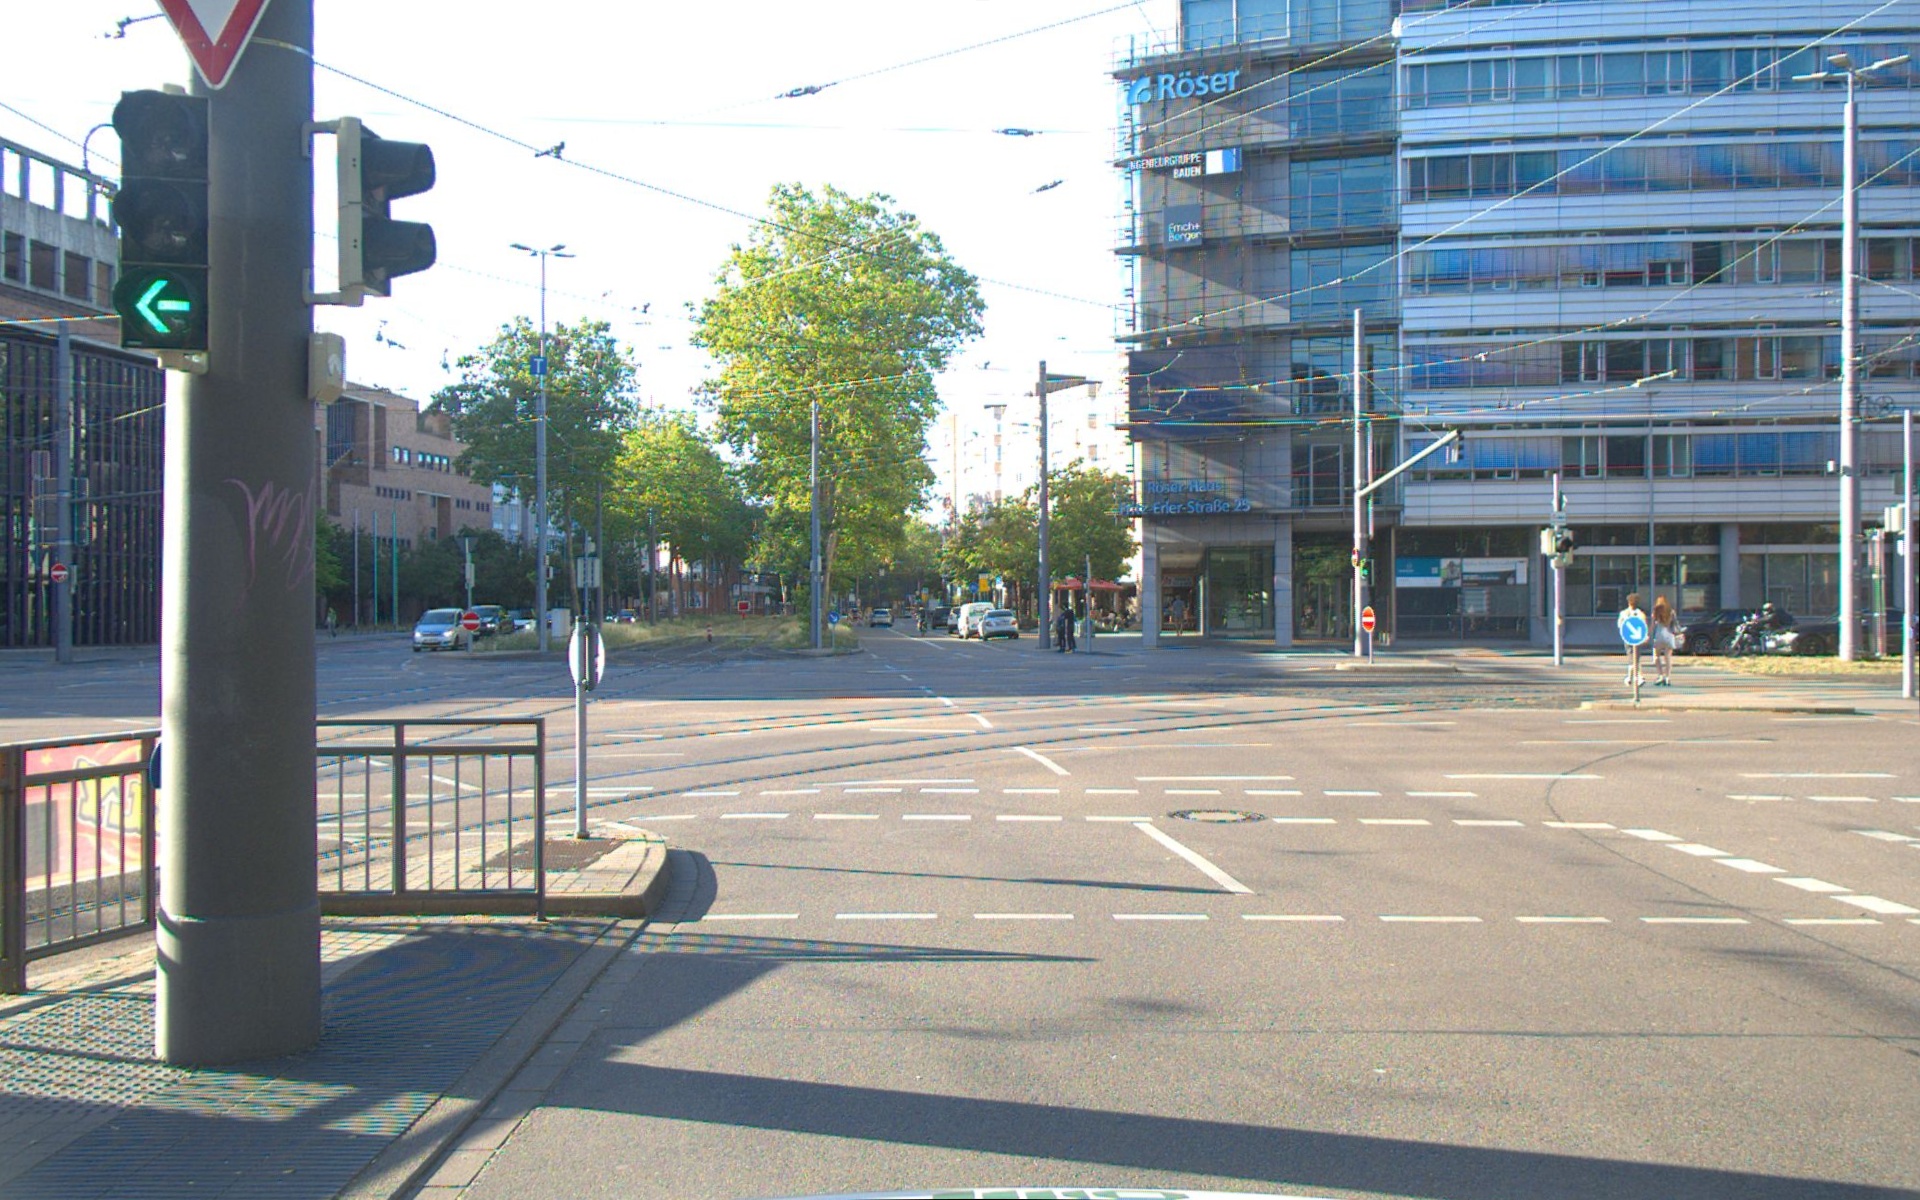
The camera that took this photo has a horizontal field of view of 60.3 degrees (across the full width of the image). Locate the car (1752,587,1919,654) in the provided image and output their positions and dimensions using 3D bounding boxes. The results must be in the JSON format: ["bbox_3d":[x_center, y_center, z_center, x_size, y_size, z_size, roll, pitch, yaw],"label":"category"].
[{"bbox_3d":[24.171,0.546,45.177,4.165,1.753,1.885,-1,0,2],"label":"car"}]

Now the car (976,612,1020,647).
[{"bbox_3d":[1.851,1.454,81.043,1.988,1.624,3.999,1,-1,-1],"label":"car"}]

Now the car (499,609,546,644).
[{"bbox_3d":[-21.299,1.275,80.689,1.644,1.635,3.994,1,-1,-7],"label":"car"}]

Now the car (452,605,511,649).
[{"bbox_3d":[-20.915,1.162,72.418,1.787,1.821,3.994,-1,0,-7],"label":"car"}]

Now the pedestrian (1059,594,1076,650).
[{"bbox_3d":[3.994,0.805,61.331,0.574,2.049,0.620,1,-1,0],"label":"pedestrian"}]

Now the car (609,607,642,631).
[{"bbox_3d":[-25.804,1.477,127.716,1.807,1.814,3.999,-1,0,-1],"label":"car"}]

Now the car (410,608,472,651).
[{"bbox_3d":[-20.503,1.149,65.448,1.590,1.604,3.994,-1,0,-7],"label":"car"}]

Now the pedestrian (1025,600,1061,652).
[{"bbox_3d":[3.201,1.017,63.866,1.315,1.985,1.011,0,-1,-1],"label":"pedestrian"}]

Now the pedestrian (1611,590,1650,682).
[{"bbox_3d":[13.195,0.699,32.576,0.663,1.789,0.742,-1,-1,21],"label":"pedestrian"}]

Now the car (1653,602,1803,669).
[{"bbox_3d":[24.694,1.133,53.284,3.905,2.049,2.000,1,-1,-1],"label":"car"}]

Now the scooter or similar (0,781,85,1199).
[{"bbox_3d":[-2.505,0.949,3.292,1.177,1.100,0.648,-1,-1,3],"label":"scooter or similar"}]

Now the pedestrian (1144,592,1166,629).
[{"bbox_3d":[11.735,0.626,99.660,1.285,2.228,1.171,1,-1,6],"label":"pedestrian"}]

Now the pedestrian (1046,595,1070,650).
[{"bbox_3d":[3.707,0.866,62.521,0.832,2.049,0.707,1,-1,-3],"label":"pedestrian"}]

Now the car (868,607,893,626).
[{"bbox_3d":[-6.531,1.338,136.107,1.711,1.443,4.001,0,1,1],"label":"car"}]

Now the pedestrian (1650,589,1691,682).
[{"bbox_3d":[13.866,0.683,32.292,0.669,1.789,0.742,-1,-1,19],"label":"pedestrian"}]

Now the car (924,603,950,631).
[{"bbox_3d":[-1.725,1.256,124.828,1.953,2.049,3.999,1,-1,-1],"label":"car"}]

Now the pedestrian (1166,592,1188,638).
[{"bbox_3d":[9.806,0.687,74.808,0.852,2.049,0.793,1,-2,-1],"label":"pedestrian"}]

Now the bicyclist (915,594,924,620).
[{"bbox_3d":[-2.312,0.396,94.477,0.477,1.464,0.615,2,0,-1],"label":"bicyclist"}]

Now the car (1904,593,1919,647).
[{"bbox_3d":[29.654,0.610,47.625,3.903,1.579,1.798,1,-1,4],"label":"car"}]

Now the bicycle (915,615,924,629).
[{"bbox_3d":[-2.334,1.250,94.481,0.480,0.802,1.861,1,-1,-1],"label":"bicycle"}]

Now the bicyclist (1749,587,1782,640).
[{"bbox_3d":[23.338,0.383,47.924,0.649,1.529,0.613,-1,-1,4],"label":"bicyclist"}]

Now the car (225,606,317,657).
[{"bbox_3d":[-29.003,1.302,69.765,1.837,2.049,4.472,-1,0,2],"label":"car"}]

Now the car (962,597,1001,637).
[{"bbox_3d":[1.100,0.918,87.938,1.953,2.049,3.999,1,-1,-1],"label":"car"}]

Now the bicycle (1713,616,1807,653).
[{"bbox_3d":[23.171,1.005,47.931,2.359,1.040,0.637,-1,0,4],"label":"bicycle"}]
